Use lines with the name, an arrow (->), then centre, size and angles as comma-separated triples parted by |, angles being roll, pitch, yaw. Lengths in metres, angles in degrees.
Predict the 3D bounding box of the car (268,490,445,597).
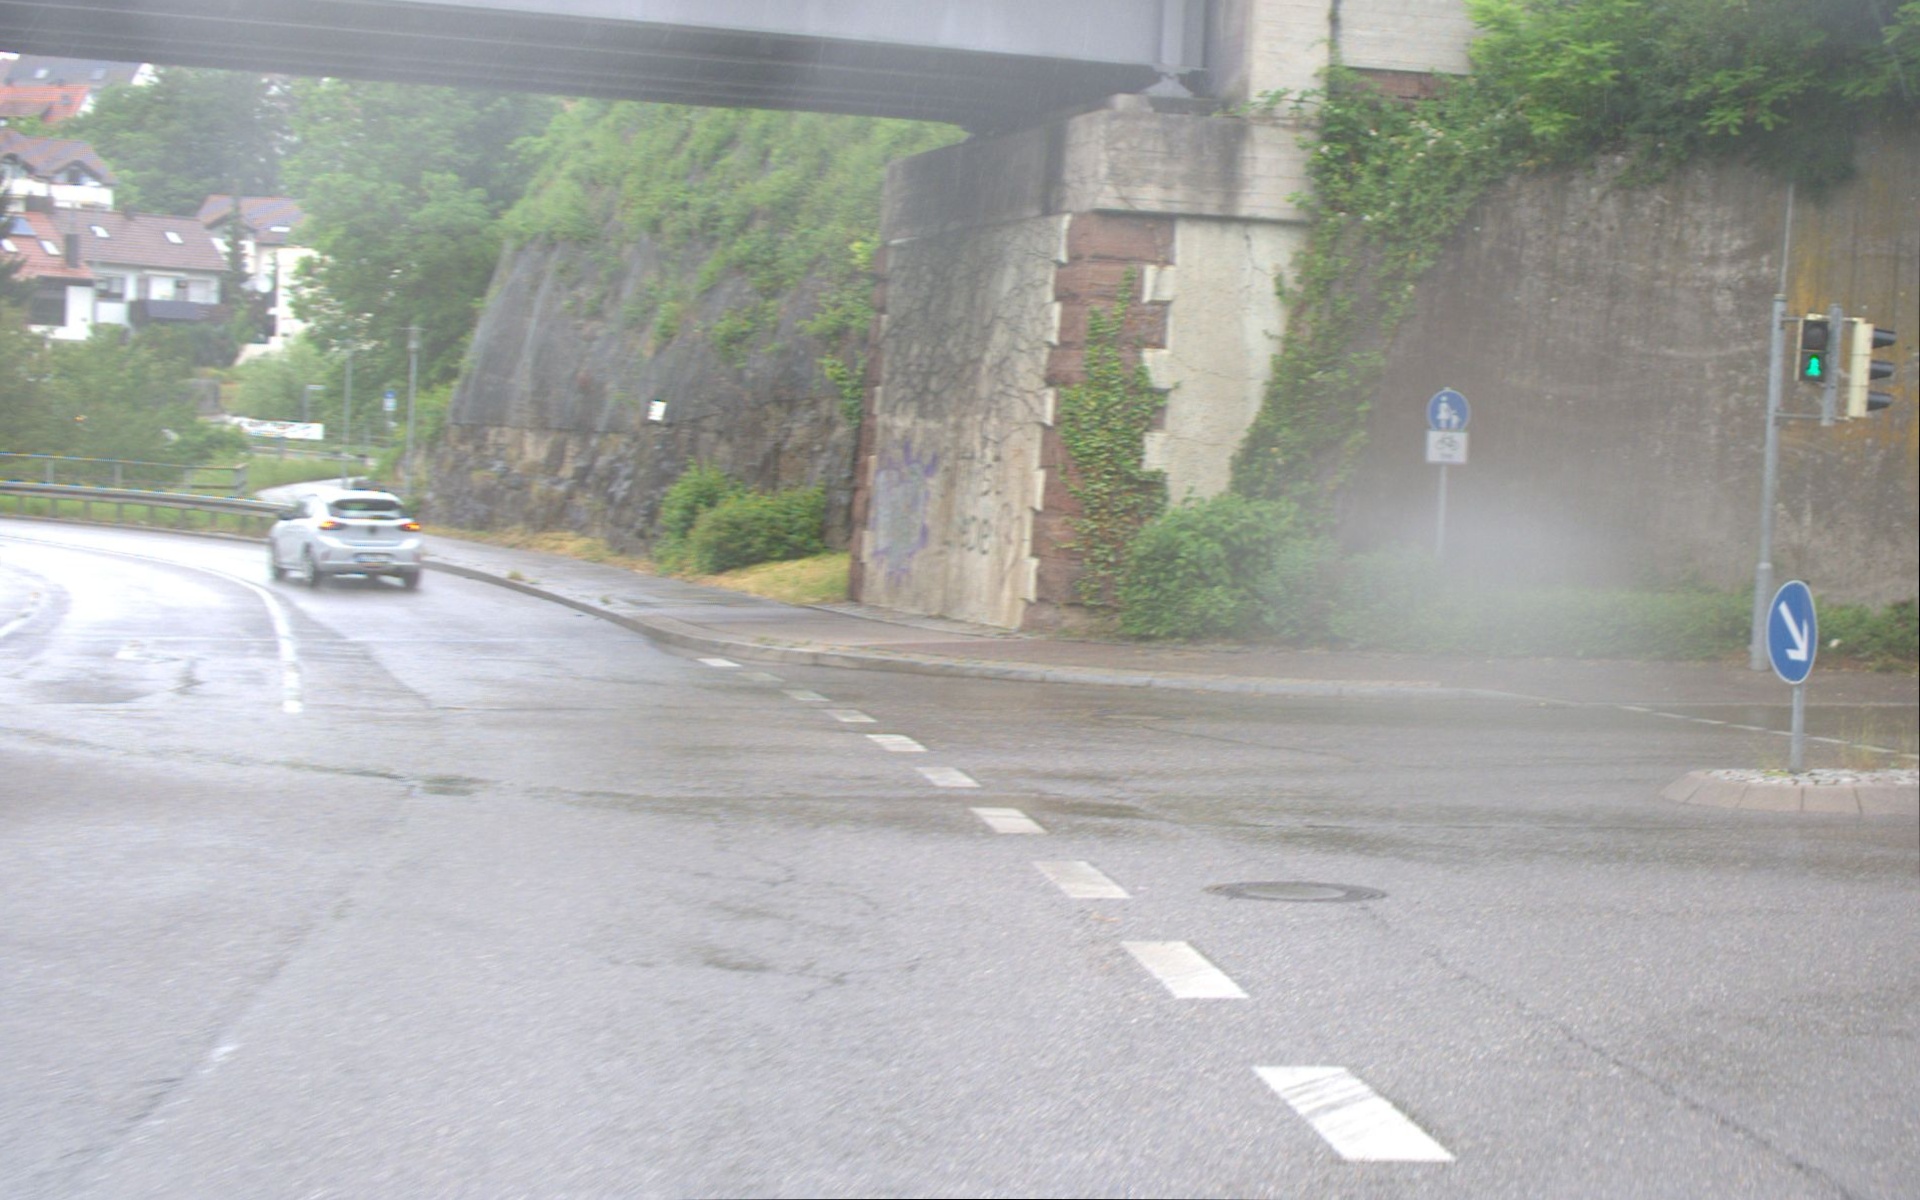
car -> -9.349, -0.870, 53.003 | 1.993, 1.557, 4.001 | 1, 1, -20
